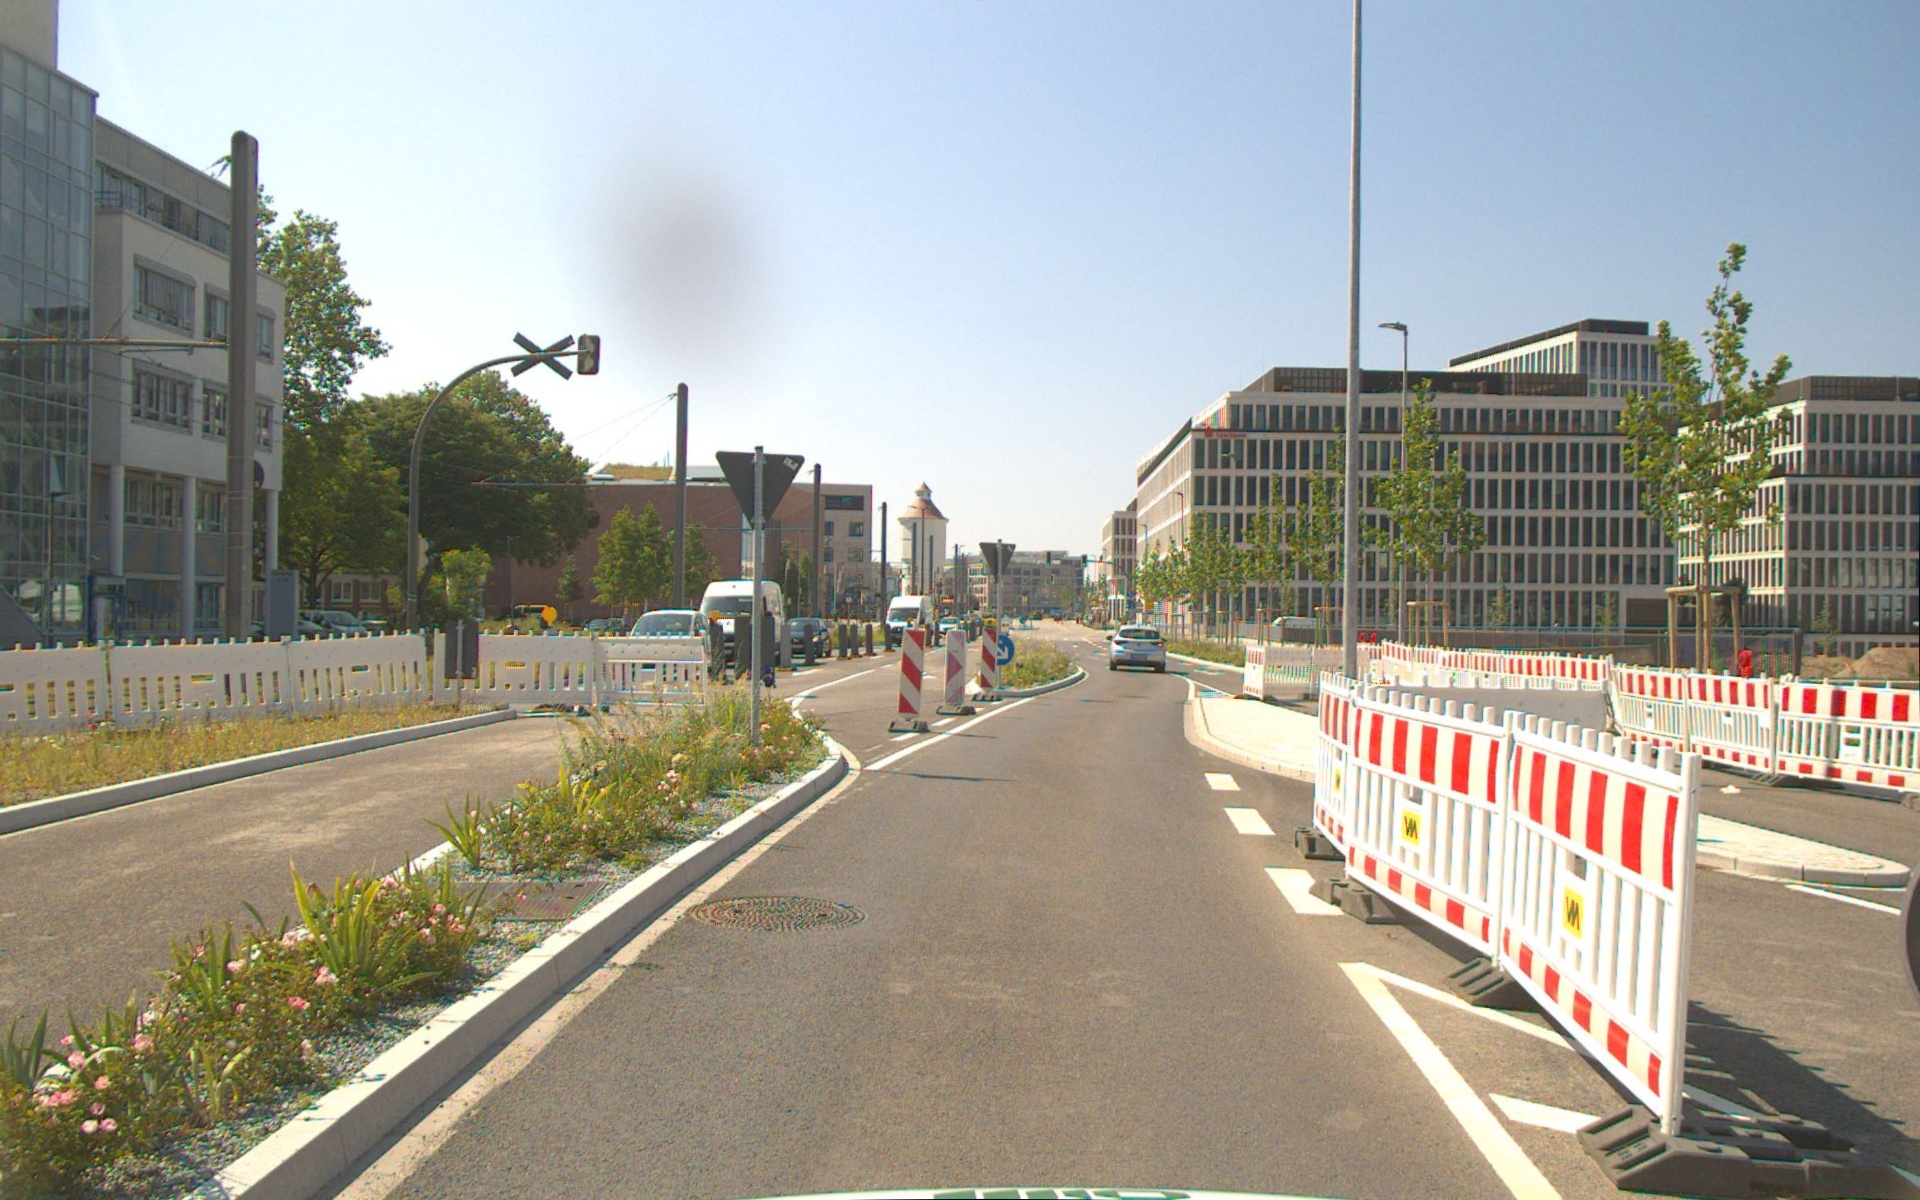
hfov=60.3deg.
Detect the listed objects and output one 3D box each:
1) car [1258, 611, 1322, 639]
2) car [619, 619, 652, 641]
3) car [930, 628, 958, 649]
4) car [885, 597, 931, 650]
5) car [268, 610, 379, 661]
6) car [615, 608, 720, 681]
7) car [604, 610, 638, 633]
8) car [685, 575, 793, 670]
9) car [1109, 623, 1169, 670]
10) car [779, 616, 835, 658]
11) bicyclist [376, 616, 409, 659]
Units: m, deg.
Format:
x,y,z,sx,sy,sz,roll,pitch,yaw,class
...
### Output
x,y,z,sx,sy,sz,roll,pitch,yaw,class
31.594,2.397,158.538,5.716,2.310,2.147,3,0,2,car
-26.934,2.508,137.479,1.663,1.792,4.302,1,-1,2,car
-1.130,2.792,119.689,1.638,1.469,4.470,-1,-1,4,car
-2.871,1.307,92.583,2.034,2.788,5.988,-1,-1,3,car
-29.610,1.627,76.957,4.964,2.218,2.110,1,-1,29,car
-6.767,1.014,38.609,1.547,1.568,3.979,-2,-1,3,car
-26.886,1.732,131.408,1.663,1.792,3.940,1,-1,3,car
-6.567,0.688,49.945,1.988,2.624,6.196,-2,-1,4,car
5.737,1.492,53.402,1.734,1.419,3.533,2,-1,4,car
-5.762,1.373,62.728,1.513,1.482,4.194,-1,-1,3,car
-21.043,1.374,61.343,0.738,1.566,1.077,1,-1,3,bicyclist
